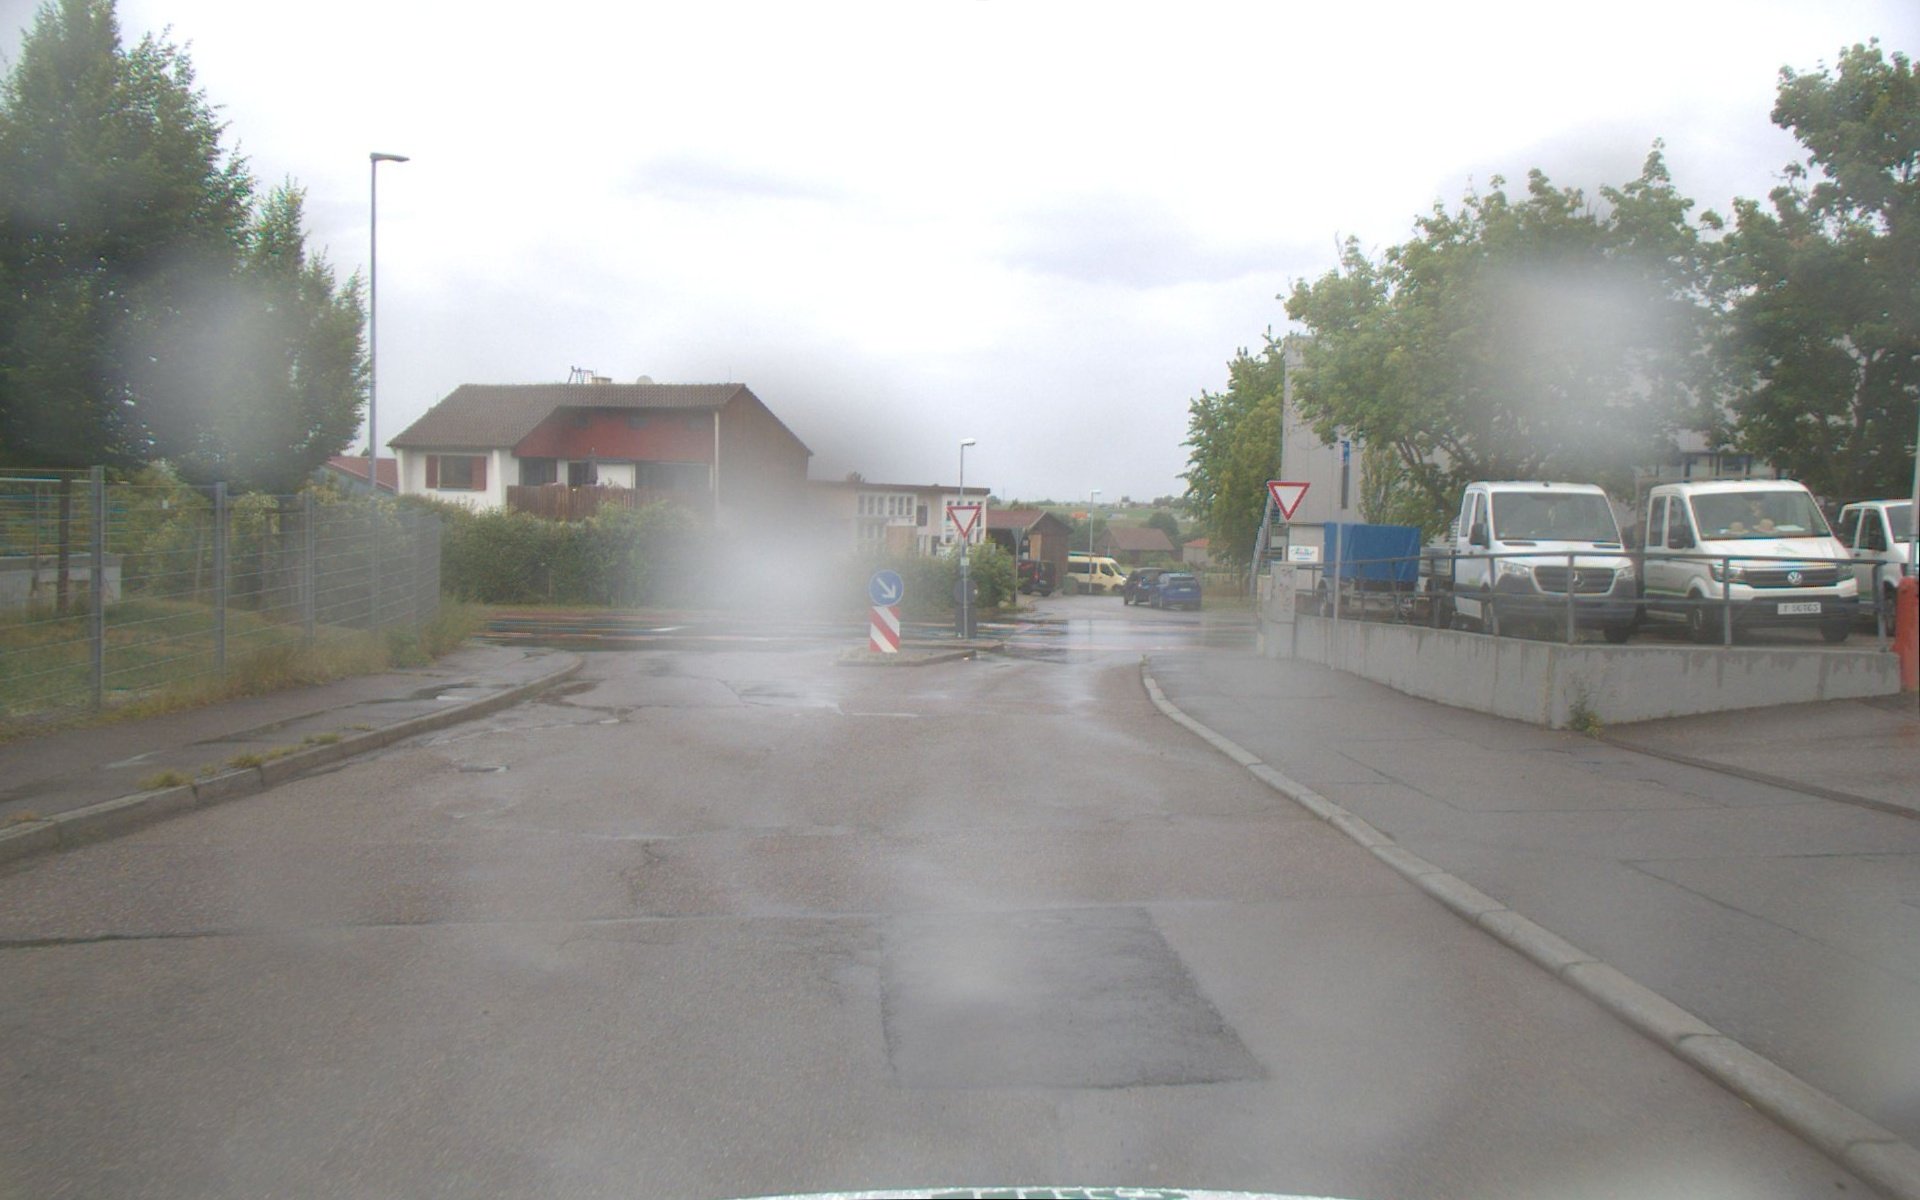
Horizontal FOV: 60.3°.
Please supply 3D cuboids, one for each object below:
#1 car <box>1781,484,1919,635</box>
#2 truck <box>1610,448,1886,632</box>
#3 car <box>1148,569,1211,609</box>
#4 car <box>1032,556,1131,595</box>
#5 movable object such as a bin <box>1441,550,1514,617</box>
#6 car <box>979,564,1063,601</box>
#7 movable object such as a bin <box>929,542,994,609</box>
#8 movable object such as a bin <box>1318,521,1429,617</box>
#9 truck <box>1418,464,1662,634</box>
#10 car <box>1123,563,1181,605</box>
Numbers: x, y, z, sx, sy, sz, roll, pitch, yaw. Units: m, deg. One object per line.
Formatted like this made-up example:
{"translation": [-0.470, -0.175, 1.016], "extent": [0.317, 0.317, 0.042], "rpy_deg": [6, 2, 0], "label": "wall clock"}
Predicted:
{"translation": [14.223, -0.548, 24.765], "extent": [2.012, 2.049, 4.943], "rpy_deg": [1, 0, 8], "label": "car"}
{"translation": [11.297, -0.811, 24.164], "extent": [2.195, 2.382, 4.841], "rpy_deg": [1, 1, 7], "label": "truck"}
{"translation": [9.391, -0.480, 71.051], "extent": [1.913, 1.638, 4.444], "rpy_deg": [1, 0, -3], "label": "car"}
{"translation": [7.843, -1.597, 106.792], "extent": [5.887, 2.457, 2.463], "rpy_deg": [1, 0, 23], "label": "car"}
{"translation": [9.291, -0.294, 29.759], "extent": [1.114, 1.182, 1.028], "rpy_deg": [1, 0, 10], "label": "movable object such as a bin"}
{"translation": [3.263, -0.942, 89.283], "extent": [1.986, 1.938, 4.337], "rpy_deg": [0, 1, -45], "label": "car"}
{"translation": [0.099, -0.973, 66.024], "extent": [1.696, 2.601, 3.342], "rpy_deg": [1, 0, 16], "label": "movable object such as a bin"}
{"translation": [6.855, -0.506, 27.534], "extent": [1.281, 1.526, 1.857], "rpy_deg": [1, 0, -4], "label": "movable object such as a bin"}
{"translation": [8.548, -0.712, 24.994], "extent": [2.061, 2.252, 5.656], "rpy_deg": [1, 0, 4], "label": "truck"}
{"translation": [8.938, -0.733, 77.358], "extent": [2.032, 1.867, 4.469], "rpy_deg": [1, 0, -2], "label": "car"}
